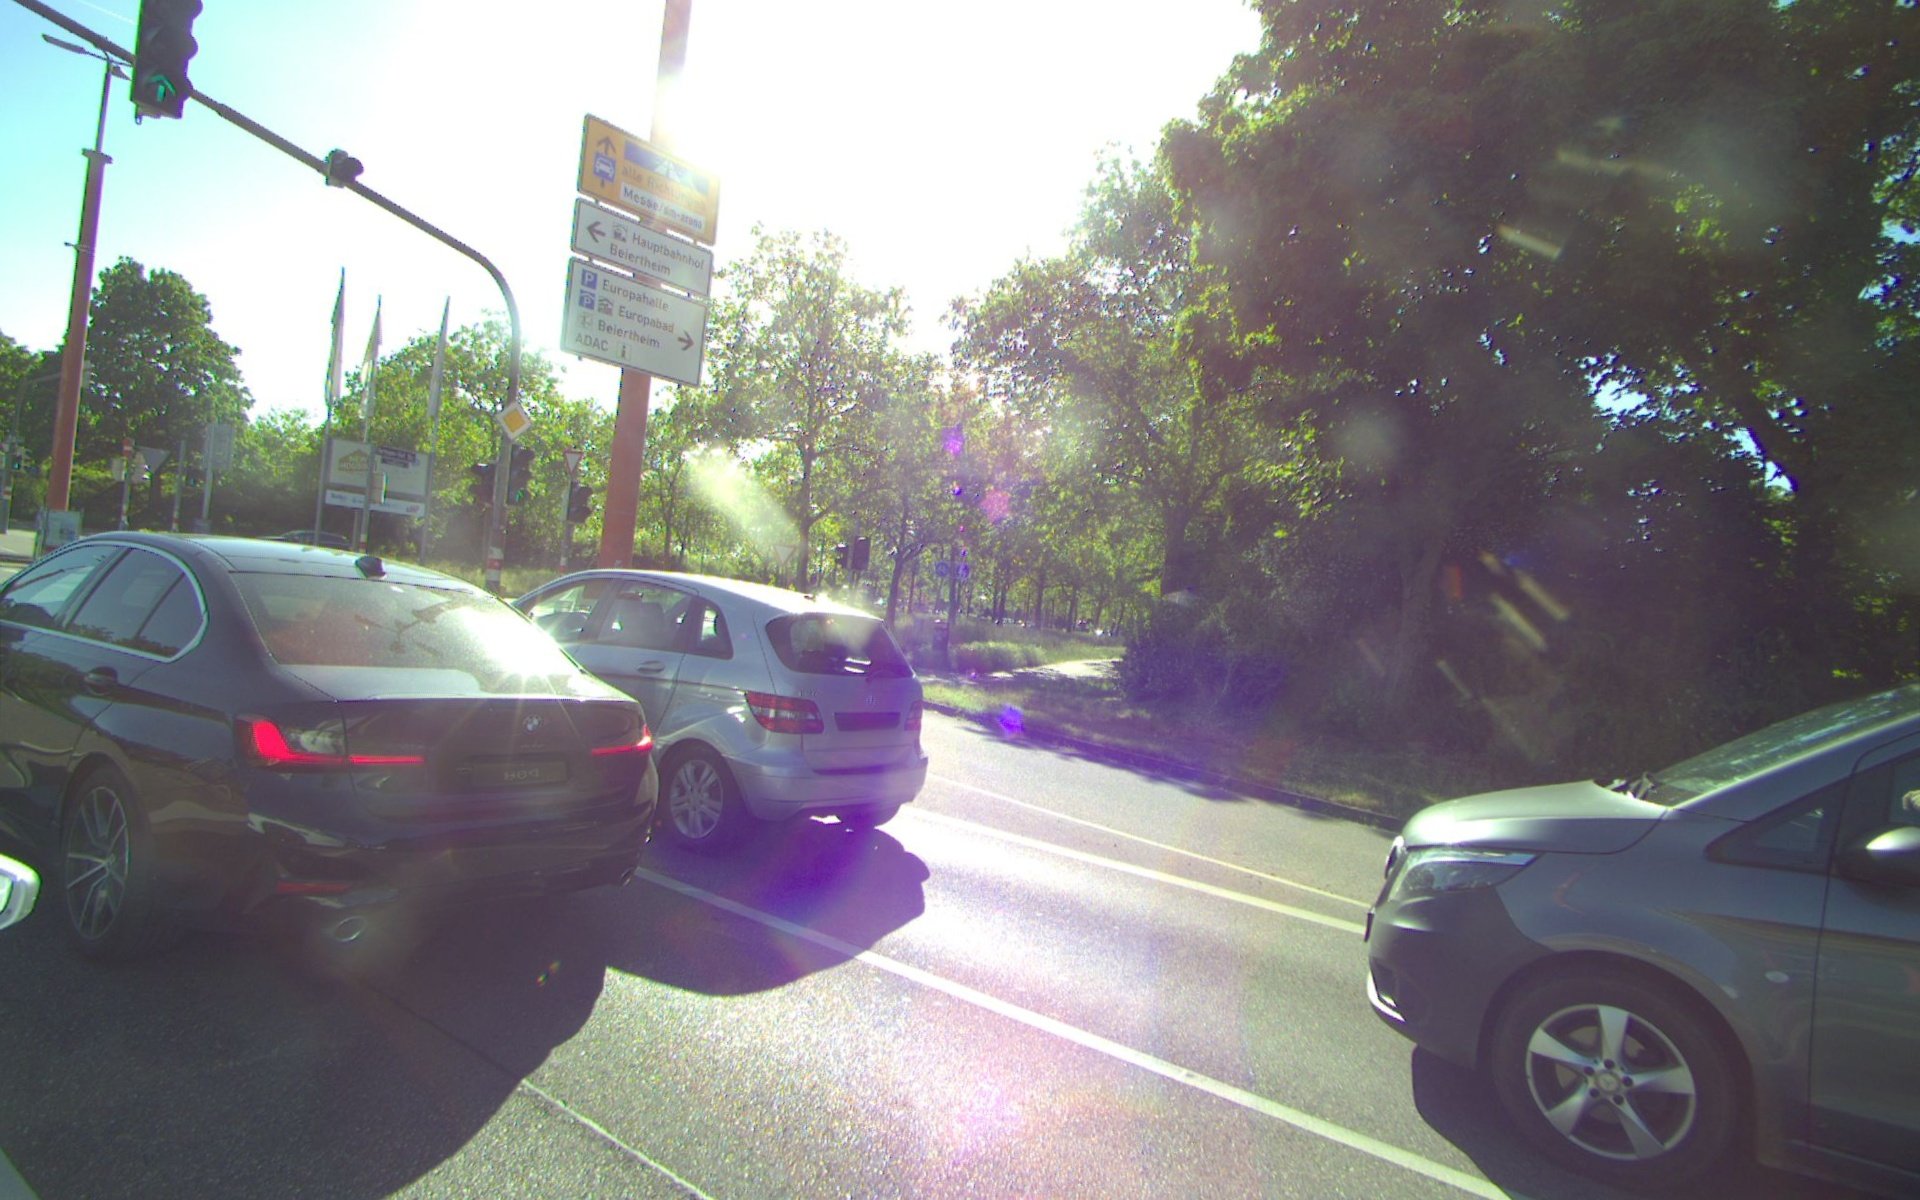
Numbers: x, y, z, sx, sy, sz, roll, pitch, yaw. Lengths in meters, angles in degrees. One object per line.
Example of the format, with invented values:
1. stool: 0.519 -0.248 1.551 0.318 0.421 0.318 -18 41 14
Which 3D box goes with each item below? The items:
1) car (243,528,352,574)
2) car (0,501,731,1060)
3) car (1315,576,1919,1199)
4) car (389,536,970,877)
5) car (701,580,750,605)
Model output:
1. car: -33.469 -2.475 50.894 4.273 1.654 1.748 9 -3 -43
2. car: -3.297 0.436 4.646 4.224 1.458 1.767 6 -2 32
3. car: 3.988 1.153 3.099 5.021 1.875 1.806 7 0 34
4. car: -2.065 0.592 7.132 3.784 1.626 1.719 6 -2 32
5. car: -20.094 -0.625 86.277 1.737 1.655 4.297 7 -1 23
